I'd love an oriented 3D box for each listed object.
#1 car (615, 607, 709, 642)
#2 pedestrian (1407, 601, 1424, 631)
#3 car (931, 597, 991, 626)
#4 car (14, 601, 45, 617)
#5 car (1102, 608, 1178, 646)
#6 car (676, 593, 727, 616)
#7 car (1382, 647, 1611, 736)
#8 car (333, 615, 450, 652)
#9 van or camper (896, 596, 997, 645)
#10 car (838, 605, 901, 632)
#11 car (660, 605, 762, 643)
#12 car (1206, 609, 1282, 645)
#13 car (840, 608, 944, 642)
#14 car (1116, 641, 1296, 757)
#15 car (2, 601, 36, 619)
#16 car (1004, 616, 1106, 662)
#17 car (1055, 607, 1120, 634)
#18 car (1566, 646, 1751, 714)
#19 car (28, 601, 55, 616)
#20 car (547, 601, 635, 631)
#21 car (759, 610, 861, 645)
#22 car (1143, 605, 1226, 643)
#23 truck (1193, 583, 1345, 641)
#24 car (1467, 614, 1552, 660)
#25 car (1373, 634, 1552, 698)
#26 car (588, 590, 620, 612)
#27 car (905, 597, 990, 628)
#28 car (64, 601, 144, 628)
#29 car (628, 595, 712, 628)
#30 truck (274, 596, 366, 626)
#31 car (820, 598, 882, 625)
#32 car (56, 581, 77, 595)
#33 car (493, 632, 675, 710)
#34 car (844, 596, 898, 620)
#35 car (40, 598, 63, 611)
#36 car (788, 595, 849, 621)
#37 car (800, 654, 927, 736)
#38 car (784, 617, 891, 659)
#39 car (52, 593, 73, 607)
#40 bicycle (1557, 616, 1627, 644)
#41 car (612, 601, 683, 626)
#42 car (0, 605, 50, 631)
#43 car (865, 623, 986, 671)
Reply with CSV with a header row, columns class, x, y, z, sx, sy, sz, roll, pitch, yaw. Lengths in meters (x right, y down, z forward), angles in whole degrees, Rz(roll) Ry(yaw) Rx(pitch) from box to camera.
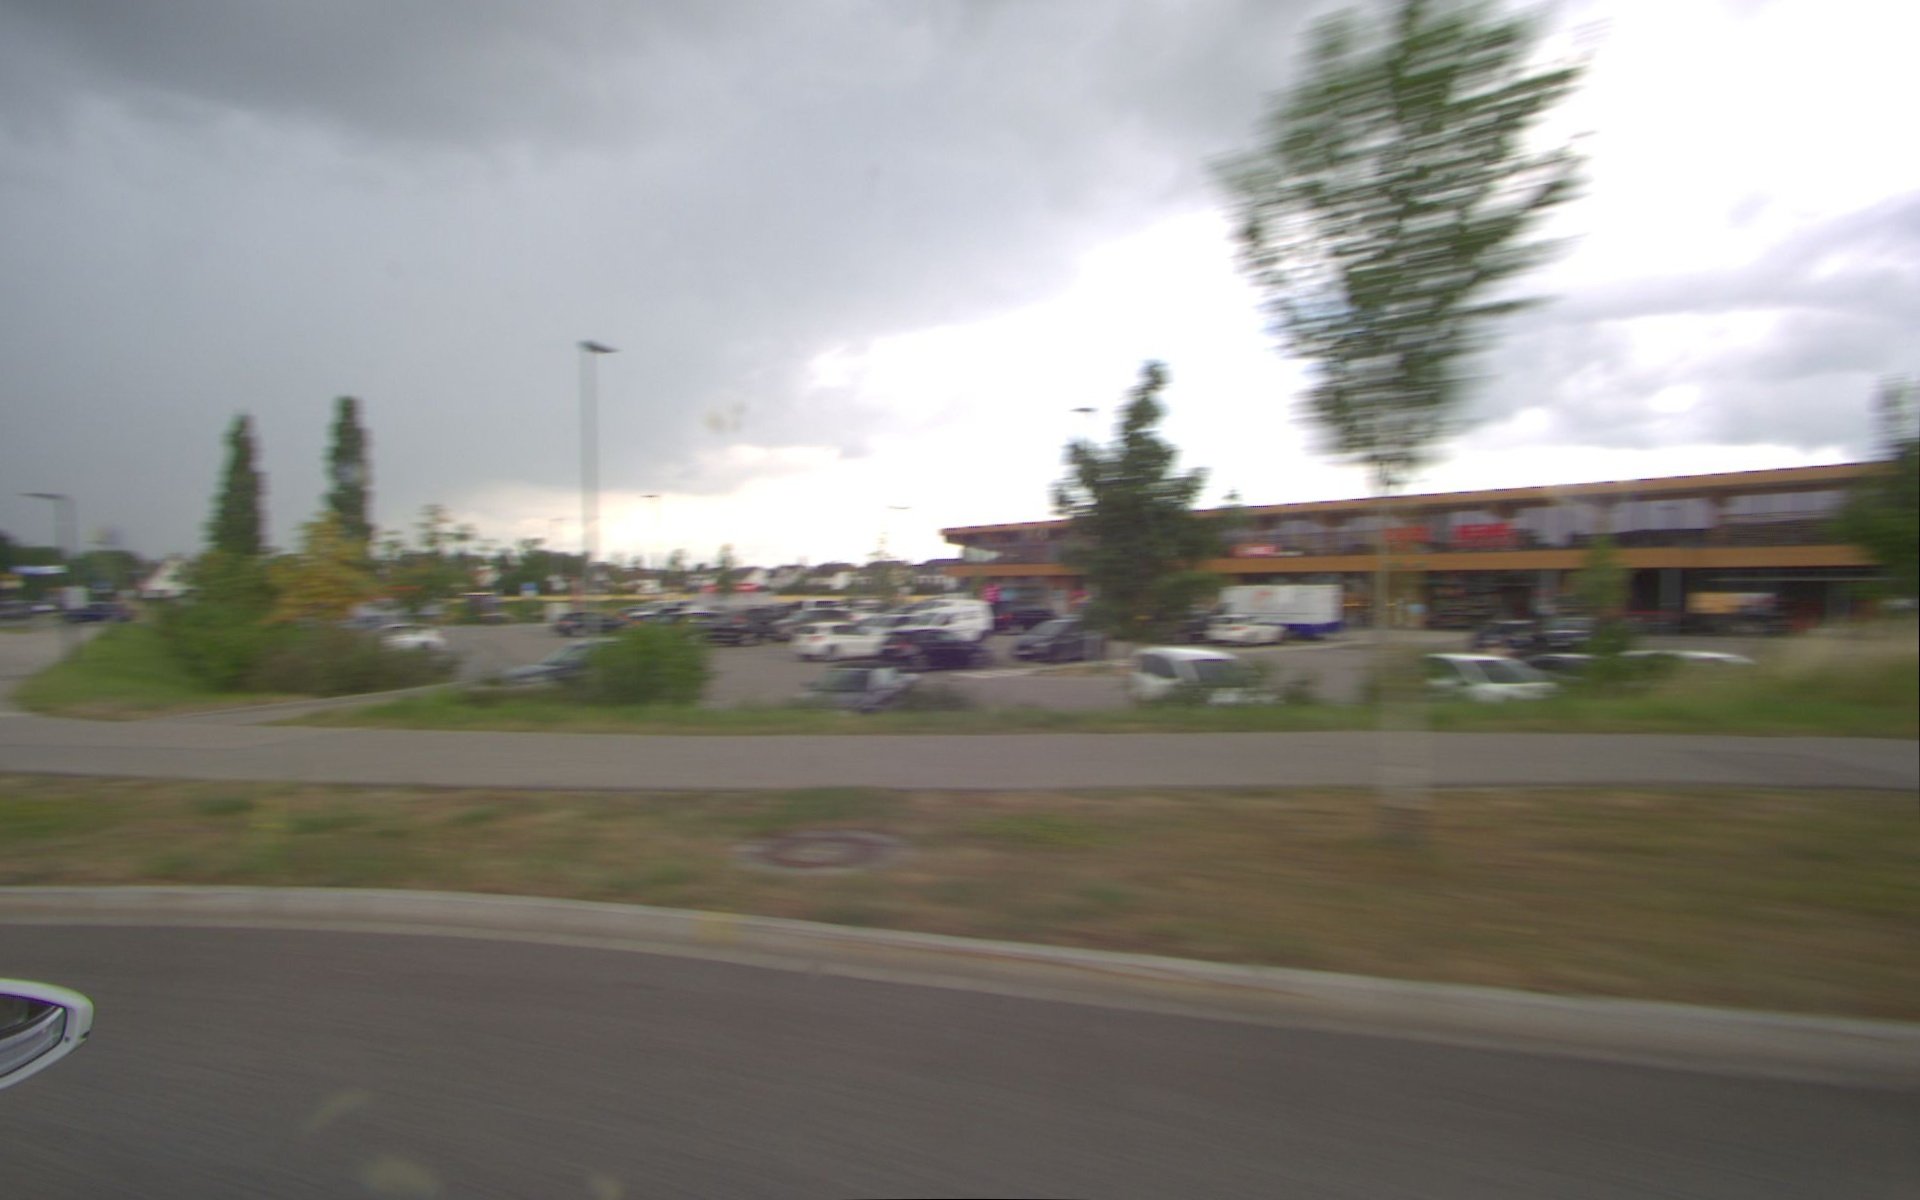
class,x,y,z,sx,sy,sz,roll,pitch,yaw
car,-15.669,1.245,52.727,4.368,1.687,1.983,-1,1,-40
pedestrian,25.729,0.897,56.530,0.740,1.680,0.800,0,1,35
car,0.108,0.793,70.605,4.070,1.919,1.782,-1,0,-41
car,-85.954,0.842,92.534,1.830,1.455,3.966,0,0,-40
car,9.258,1.346,51.407,3.955,1.879,1.757,0,0,-40
car,-23.124,0.427,89.760,3.951,1.861,1.986,3,-1,-36
car,11.187,1.841,21.193,1.966,1.528,3.990,0,-1,-20
car,-24.911,1.419,43.910,4.198,1.459,1.983,-1,0,-40
van or camper,-0.583,0.977,46.226,4.759,2.125,1.748,2,-2,-44
car,-6.230,1.249,69.154,3.951,1.862,1.985,0,0,-37
car,-11.839,1.114,47.782,4.415,1.728,1.788,1,0,-40
car,13.179,1.228,46.361,1.714,1.550,3.962,0,1,45
car,-3.199,1.140,47.704,4.735,1.504,1.888,0,0,-40
car,4.854,1.899,20.492,1.767,1.696,4.436,-1,3,-13
car,-79.468,0.830,84.559,1.830,1.455,3.966,0,0,-40
car,3.617,1.429,37.642,1.714,1.574,3.962,1,1,45
car,7.830,1.231,61.240,4.183,1.633,1.751,0,0,-43
car,16.459,1.836,23.811,1.389,1.311,3.673,-1,0,-11
car,-94.770,0.878,103.333,1.830,1.455,3.966,0,0,-40
car,-21.736,0.915,59.094,4.519,1.687,1.983,-1,1,-40
car,-7.700,1.377,51.705,4.934,1.687,1.983,-1,1,-40
car,10.835,1.136,48.235,4.075,1.747,1.836,0,-1,-41
truck,16.227,0.586,52.926,2.947,2.845,7.186,-1,1,-44
car,20.438,1.324,37.204,3.631,1.589,1.700,-1,0,-42
car,12.022,1.533,24.202,1.688,1.311,3.663,-1,0,-23
car,-33.920,0.103,95.433,1.974,2.039,3.976,2,-1,-33
car,-0.734,0.759,61.955,5.244,1.855,1.984,0,-1,-40
car,-60.749,1.003,71.128,3.931,1.818,1.615,-1,0,-19
car,-19.056,0.718,66.016,1.976,2.041,5.084,2,2,40
truck,-41.319,0.689,64.726,4.764,1.897,1.980,0,0,-44
car,-7.748,0.813,71.414,3.949,1.862,1.986,-1,0,-36
car,-139.444,-1.874,156.306,1.974,2.241,3.972,-1,1,-35
car,-9.456,1.712,25.366,1.770,1.629,3.967,3,2,41
car,-7.151,0.645,80.288,3.949,1.865,1.861,-1,1,-36
car,-107.242,0.523,118.238,1.830,1.455,3.966,0,0,-40
car,-10.298,0.549,73.116,3.950,1.862,1.985,0,0,-36
car,-1.935,1.931,21.166,1.551,1.390,3.729,0,0,13
car,-4.707,1.437,38.772,3.957,1.504,1.666,1,0,-44
car,-121.456,0.042,135.530,1.978,1.862,3.965,0,0,-41
bicycle,31.889,1.509,50.546,0.969,1.326,2.845,-1,1,-40
car,-21.090,0.892,67.699,4.275,1.599,1.754,-1,0,-38
car,-63.072,1.201,66.355,3.957,1.638,1.983,3,-2,-40
car,-1.127,1.554,34.111,3.961,1.417,1.818,-1,1,-44
